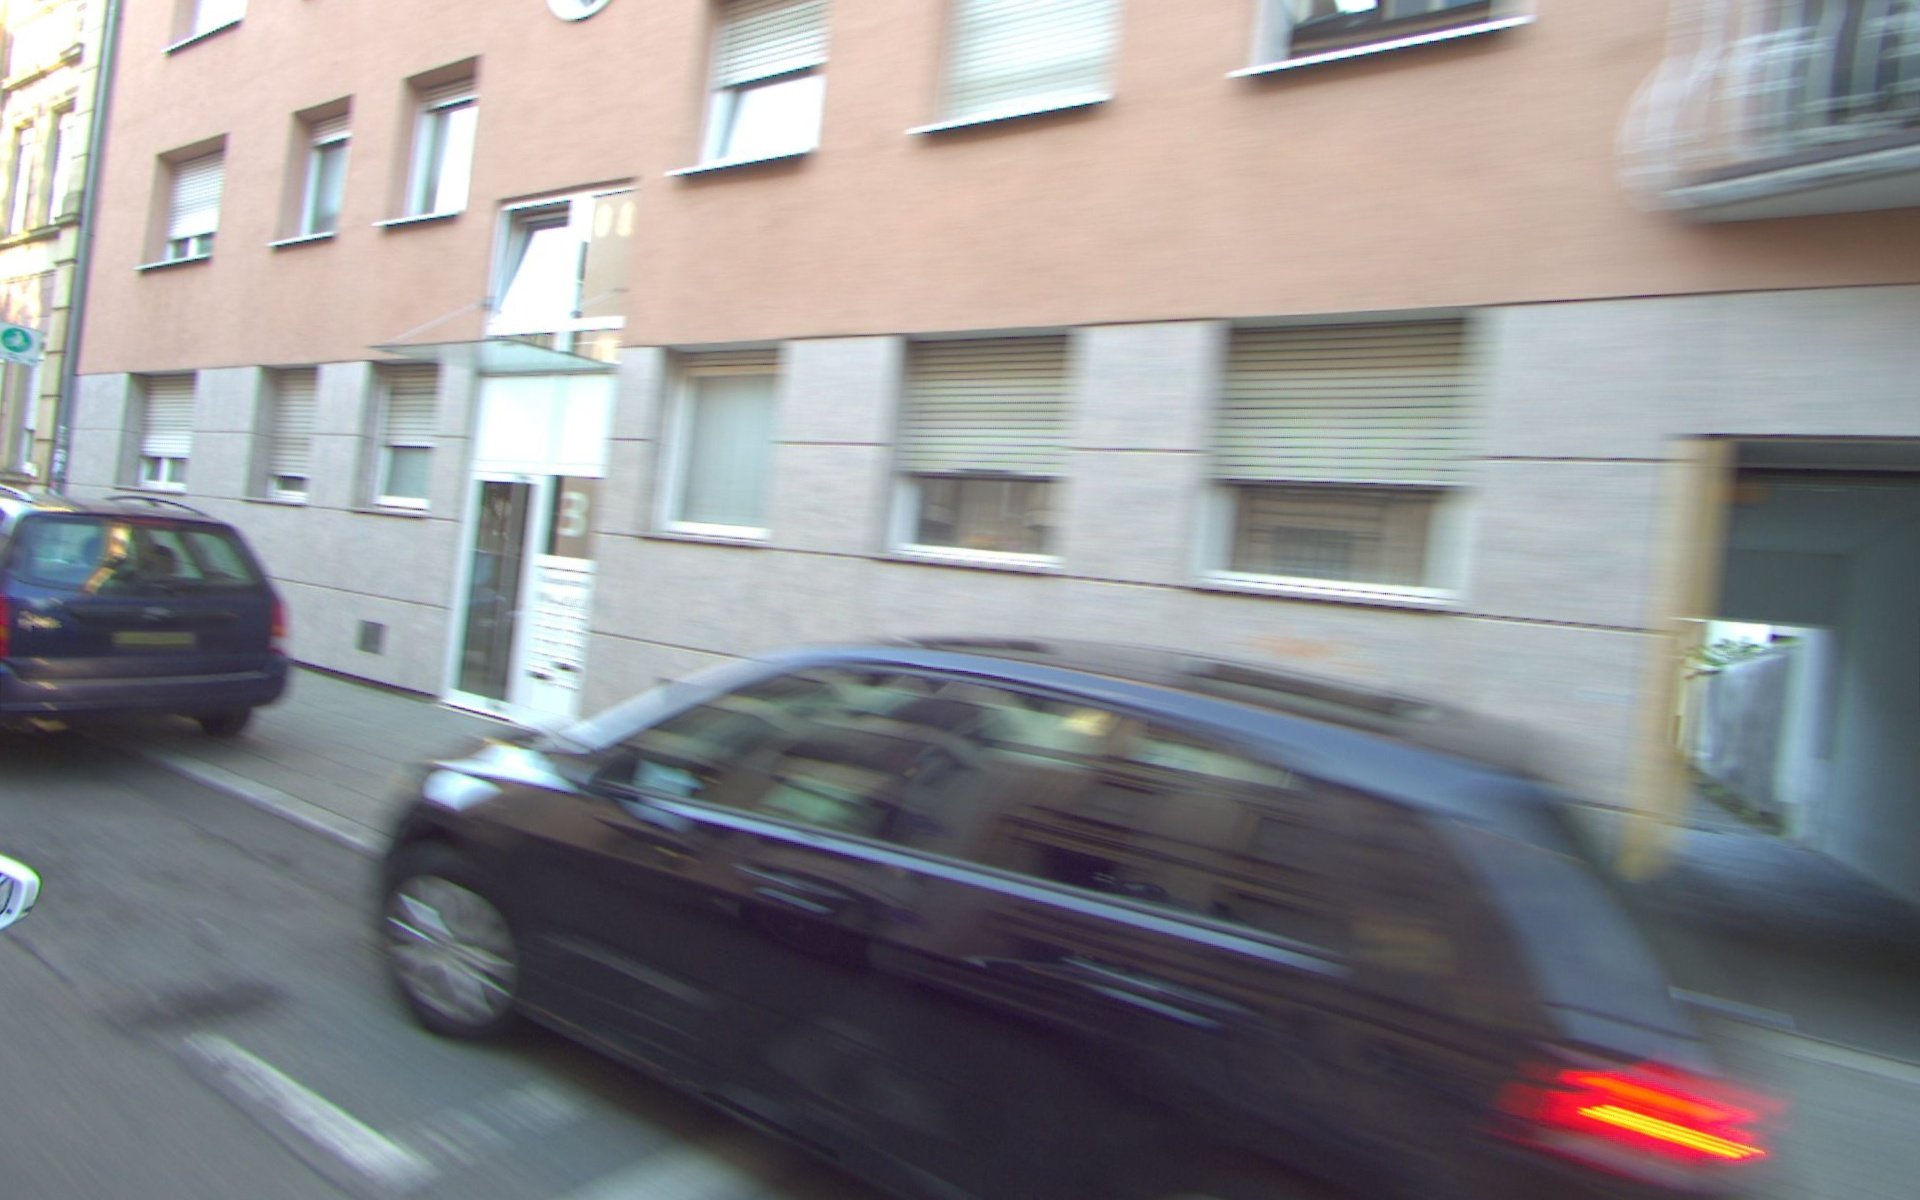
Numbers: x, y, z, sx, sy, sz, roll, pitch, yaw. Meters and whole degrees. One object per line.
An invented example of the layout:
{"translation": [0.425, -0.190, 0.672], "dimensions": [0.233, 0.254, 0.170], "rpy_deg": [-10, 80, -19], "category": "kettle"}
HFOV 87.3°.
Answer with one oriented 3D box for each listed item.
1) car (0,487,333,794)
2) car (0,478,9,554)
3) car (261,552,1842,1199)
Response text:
{"translation": [-6.238, 0.060, 6.675], "dimensions": [4.211, 1.532, 1.692], "rpy_deg": [7, -1, 31], "category": "car"}
{"translation": [-10.449, -0.502, 9.020], "dimensions": [3.987, 1.644, 1.692], "rpy_deg": [7, -1, 31], "category": "car"}
{"translation": [-0.186, 0.842, 3.157], "dimensions": [4.063, 1.475, 1.692], "rpy_deg": [7, -1, 31], "category": "car"}
